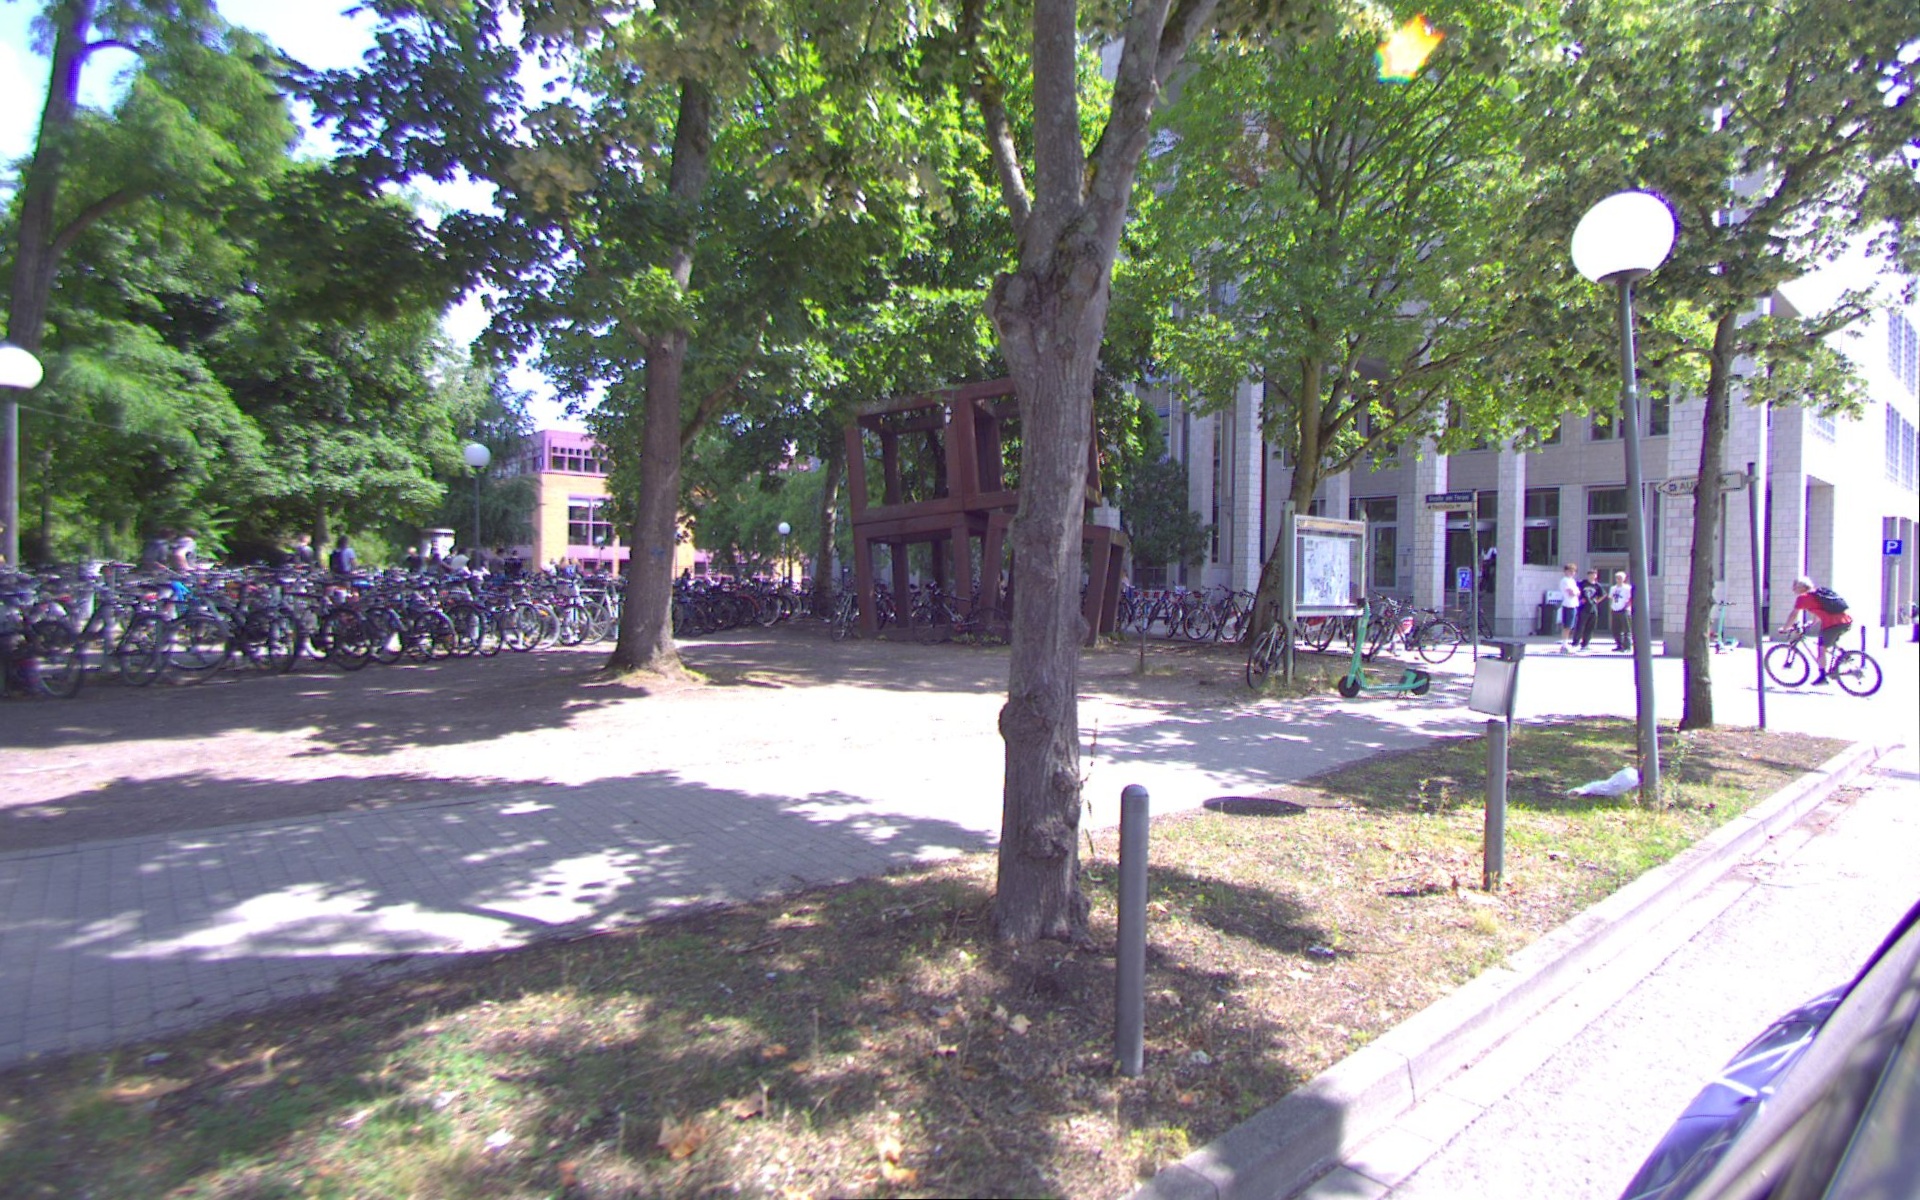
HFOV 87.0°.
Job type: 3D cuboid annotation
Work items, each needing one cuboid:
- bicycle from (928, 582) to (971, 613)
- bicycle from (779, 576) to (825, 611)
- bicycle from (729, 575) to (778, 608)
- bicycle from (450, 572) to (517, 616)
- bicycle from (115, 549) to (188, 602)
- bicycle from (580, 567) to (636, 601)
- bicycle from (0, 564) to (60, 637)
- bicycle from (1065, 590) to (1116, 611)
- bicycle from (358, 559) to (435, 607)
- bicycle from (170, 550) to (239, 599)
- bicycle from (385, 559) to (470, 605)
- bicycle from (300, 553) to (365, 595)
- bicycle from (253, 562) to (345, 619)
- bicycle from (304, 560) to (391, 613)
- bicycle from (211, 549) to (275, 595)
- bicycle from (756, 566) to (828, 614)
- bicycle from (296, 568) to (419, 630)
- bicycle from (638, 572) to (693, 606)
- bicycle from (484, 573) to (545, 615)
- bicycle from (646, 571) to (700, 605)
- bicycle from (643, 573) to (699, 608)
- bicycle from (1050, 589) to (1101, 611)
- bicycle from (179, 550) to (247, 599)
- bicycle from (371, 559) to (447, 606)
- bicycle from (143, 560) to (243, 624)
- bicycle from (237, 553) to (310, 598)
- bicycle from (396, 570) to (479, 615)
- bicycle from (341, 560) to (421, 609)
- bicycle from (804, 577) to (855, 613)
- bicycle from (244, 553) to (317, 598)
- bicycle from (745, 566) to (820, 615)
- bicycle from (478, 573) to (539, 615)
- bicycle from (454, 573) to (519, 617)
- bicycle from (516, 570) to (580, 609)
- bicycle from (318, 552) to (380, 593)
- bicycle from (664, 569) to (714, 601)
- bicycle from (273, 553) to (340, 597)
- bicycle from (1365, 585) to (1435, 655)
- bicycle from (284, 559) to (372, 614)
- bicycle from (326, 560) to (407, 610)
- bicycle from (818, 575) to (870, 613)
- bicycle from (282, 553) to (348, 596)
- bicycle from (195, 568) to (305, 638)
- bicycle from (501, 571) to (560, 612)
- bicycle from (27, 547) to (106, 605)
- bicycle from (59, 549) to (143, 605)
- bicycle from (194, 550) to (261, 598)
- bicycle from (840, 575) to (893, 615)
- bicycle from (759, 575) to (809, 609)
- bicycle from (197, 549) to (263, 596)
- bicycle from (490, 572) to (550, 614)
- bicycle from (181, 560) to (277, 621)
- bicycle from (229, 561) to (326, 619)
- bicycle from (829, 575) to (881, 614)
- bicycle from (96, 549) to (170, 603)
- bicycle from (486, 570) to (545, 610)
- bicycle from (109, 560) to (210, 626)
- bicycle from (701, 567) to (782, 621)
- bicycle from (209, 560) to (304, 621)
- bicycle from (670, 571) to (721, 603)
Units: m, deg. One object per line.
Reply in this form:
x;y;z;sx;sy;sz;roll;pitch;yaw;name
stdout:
-0.427;-0.105;38.931;0.561;1.117;1.830;2;0;-42;bicycle
-5.131;-0.196;32.939;0.475;1.098;1.666;-1;-2;35;bicycle
-7.077;-0.279;34.780;0.477;1.098;1.661;-1;-2;44;bicycle
-11.791;-0.142;25.057;1.442;1.098;0.353;0;-2;-7;bicycle
-17.862;-0.544;22.348;1.586;1.107;0.347;2;2;12;bicycle
-11.610;-0.518;33.410;1.655;1.098;0.479;0;-2;-2;bicycle
-13.893;-0.018;14.701;1.880;0.991;0.376;2;2;20;bicycle
5.244;0.016;40.601;1.981;0.769;0.634;3;1;40;bicycle
-12.310;-0.380;22.093;1.571;0.991;0.403;2;2;10;bicycle
-17.801;-0.611;23.841;1.586;1.107;0.335;2;2;12;bicycle
-12.205;-0.427;23.209;1.769;0.991;0.378;2;2;3;bicycle
-17.371;-0.720;28.035;1.581;1.107;0.348;2;2;1;bicycle
-12.426;-0.198;19.013;1.880;0.991;0.376;2;2;20;bicycle
-12.228;-0.276;20.186;1.880;0.991;0.376;2;2;20;bicycle
-17.977;-0.703;25.369;1.586;1.107;0.347;2;2;12;bicycle
-4.391;-0.274;26.414;1.816;1.185;0.412;2;1;11;bicycle
-10.335;-0.024;17.375;1.867;0.991;0.379;2;2;0;bicycle
-9.524;-0.353;32.712;1.653;1.098;0.479;0;-2;-9;bicycle
-11.777;-0.166;26.746;1.444;1.098;0.352;0;-2;0;bicycle
-9.506;-0.397;33.559;1.653;1.098;0.479;0;-2;-9;bicycle
-9.205;-0.310;32.269;1.653;1.098;0.479;0;-2;-9;bicycle
4.552;0.003;39.958;1.981;0.769;0.634;3;1;40;bicycle
-17.768;-0.621;24.082;1.586;1.107;0.347;2;2;12;bicycle
-12.239;-0.394;22.482;1.571;0.991;0.403;2;2;10;bicycle
-12.841;-0.142;16.938;1.880;0.991;0.376;2;2;20;bicycle
-17.586;-0.621;25.936;1.578;1.107;0.349;1;2;-7;bicycle
-12.185;-0.179;23.595;1.769;0.991;0.378;2;2;3;bicycle
-12.224;-0.337;21.376;1.571;0.991;0.403;2;2;10;bicycle
-4.091;-0.141;31.893;0.477;1.098;1.661;-1;-2;44;bicycle
-17.642;-0.643;26.284;1.578;1.107;0.349;1;2;-7;bicycle
-4.506;-0.241;25.706;1.816;1.185;0.412;2;1;11;bicycle
-11.769;-0.146;26.388;1.444;1.098;0.352;0;-2;0;bicycle
-12.037;-0.129;25.751;1.442;1.098;0.353;0;-2;-7;bicycle
-11.823;-0.293;29.052;1.658;1.098;0.478;0;-2;4;bicycle
-17.586;-0.792;29.116;1.581;1.107;0.348;2;2;1;bicycle
-9.541;-0.512;35.657;1.653;1.098;0.479;1;-2;-23;bicycle
-17.468;-0.675;27.070;1.581;1.107;0.348;2;2;1;bicycle
7.723;0.330;17.752;1.465;1.155;0.560;-1;4;-44;bicycle
-12.363;-0.273;19.788;1.880;0.991;0.376;2;2;20;bicycle
-12.299;-0.320;20.974;1.571;0.991;0.403;2;2;10;bicycle
-3.543;-0.171;30.969;0.477;1.144;1.661;-1;-2;44;bicycle
-17.470;-0.693;27.417;1.581;1.107;0.348;2;2;1;bicycle
-10.964;0.023;15.621;1.880;0.991;0.376;2;2;20;bicycle
-11.751;-0.217;27.729;1.441;1.098;0.353;0;-2;-15;bicycle
-17.836;-0.491;20.198;1.587;1.107;0.347;2;2;14;bicycle
-17.978;-0.489;21.179;1.586;1.107;0.477;2;2;12;bicycle
-17.671;-0.633;24.417;1.586;1.107;0.347;2;2;12;bicycle
-2.756;-0.135;30.061;0.477;1.144;1.661;-1;-2;44;bicycle
-5.803;-0.250;33.425;0.477;1.098;1.661;-1;-2;44;bicycle
-18.044;-0.688;25.022;1.586;1.107;0.347;2;2;12;bicycle
-11.778;-0.186;27.112;1.444;1.098;0.352;0;-2;0;bicycle
-12.783;-0.181;17.684;1.880;0.991;0.376;2;2;20;bicycle
-12.564;-0.200;18.622;1.880;0.991;0.476;2;2;20;bicycle
-3.156;-0.160;30.488;0.477;1.144;1.661;-1;-2;44;bicycle
-17.958;-0.531;21.975;1.586;1.107;0.347;2;2;12;bicycle
-12.277;-0.263;27.997;1.441;1.098;0.353;0;-2;-11;bicycle
-13.118;-0.133;16.574;1.880;0.991;0.376;2;2;20;bicycle
-5.060;-0.149;23.457;1.816;1.185;0.412;2;1;11;bicycle
-12.545;-0.183;18.030;1.880;0.991;0.376;2;2;20;bicycle
-9.115;-0.445;34.902;1.653;1.098;0.479;0;-2;-9;bicycle
